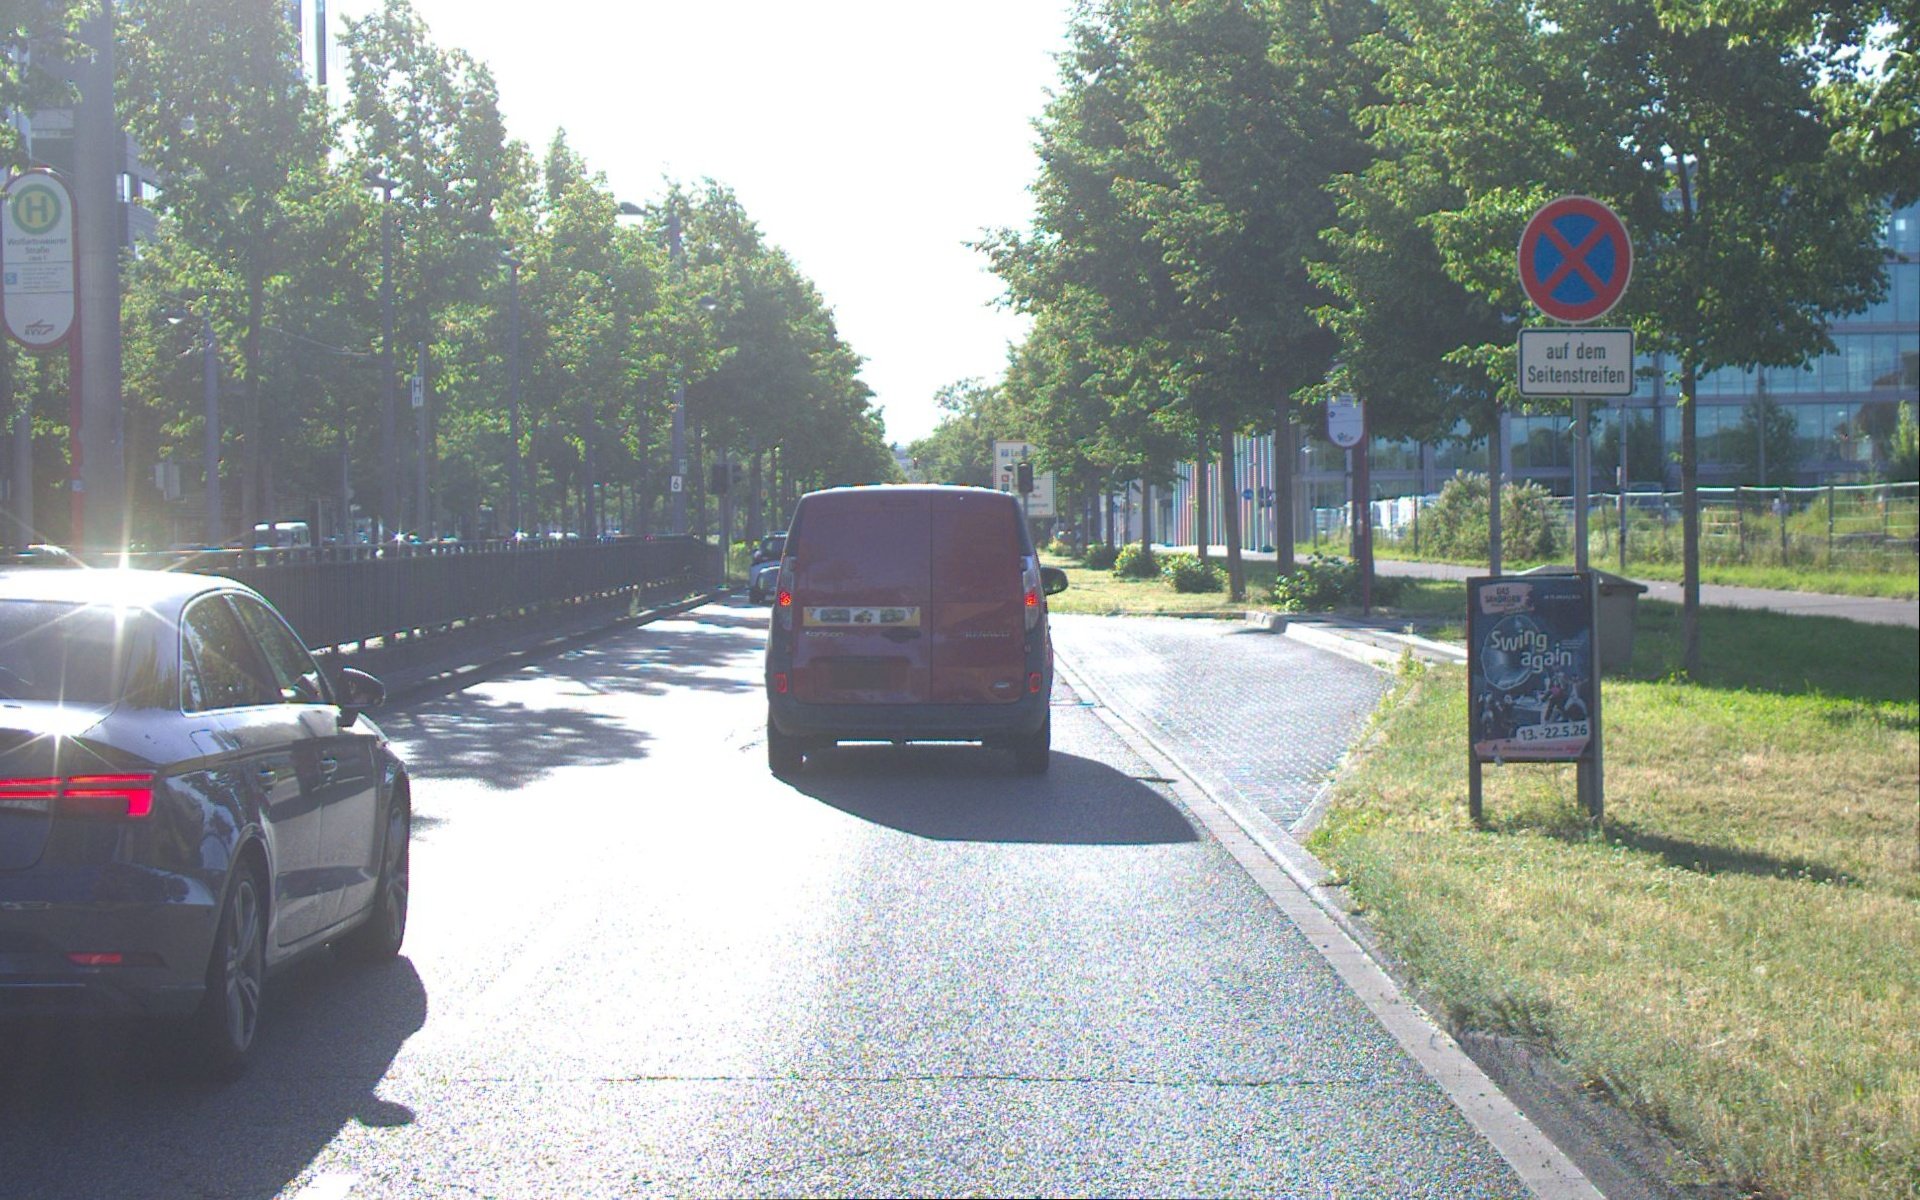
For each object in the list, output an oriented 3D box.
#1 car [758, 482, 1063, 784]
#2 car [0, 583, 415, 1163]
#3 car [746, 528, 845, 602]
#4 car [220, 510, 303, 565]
[{"bbox_3d":[-0.374,0.138,22.518,1.797,1.771,4.001,-1,2,-2],"label":"car"},{"bbox_3d":[-2.828,0.654,10.434,1.721,1.361,4.146,0,1,0],"label":"car"},{"bbox_3d":[-3.339,-0.724,70.010,1.942,1.436,4.000,-1,1,-2],"label":"car"},{"bbox_3d":[-23.923,-2.119,117.899,1.993,1.744,4.228,-2,0,-1],"label":"car"}]
